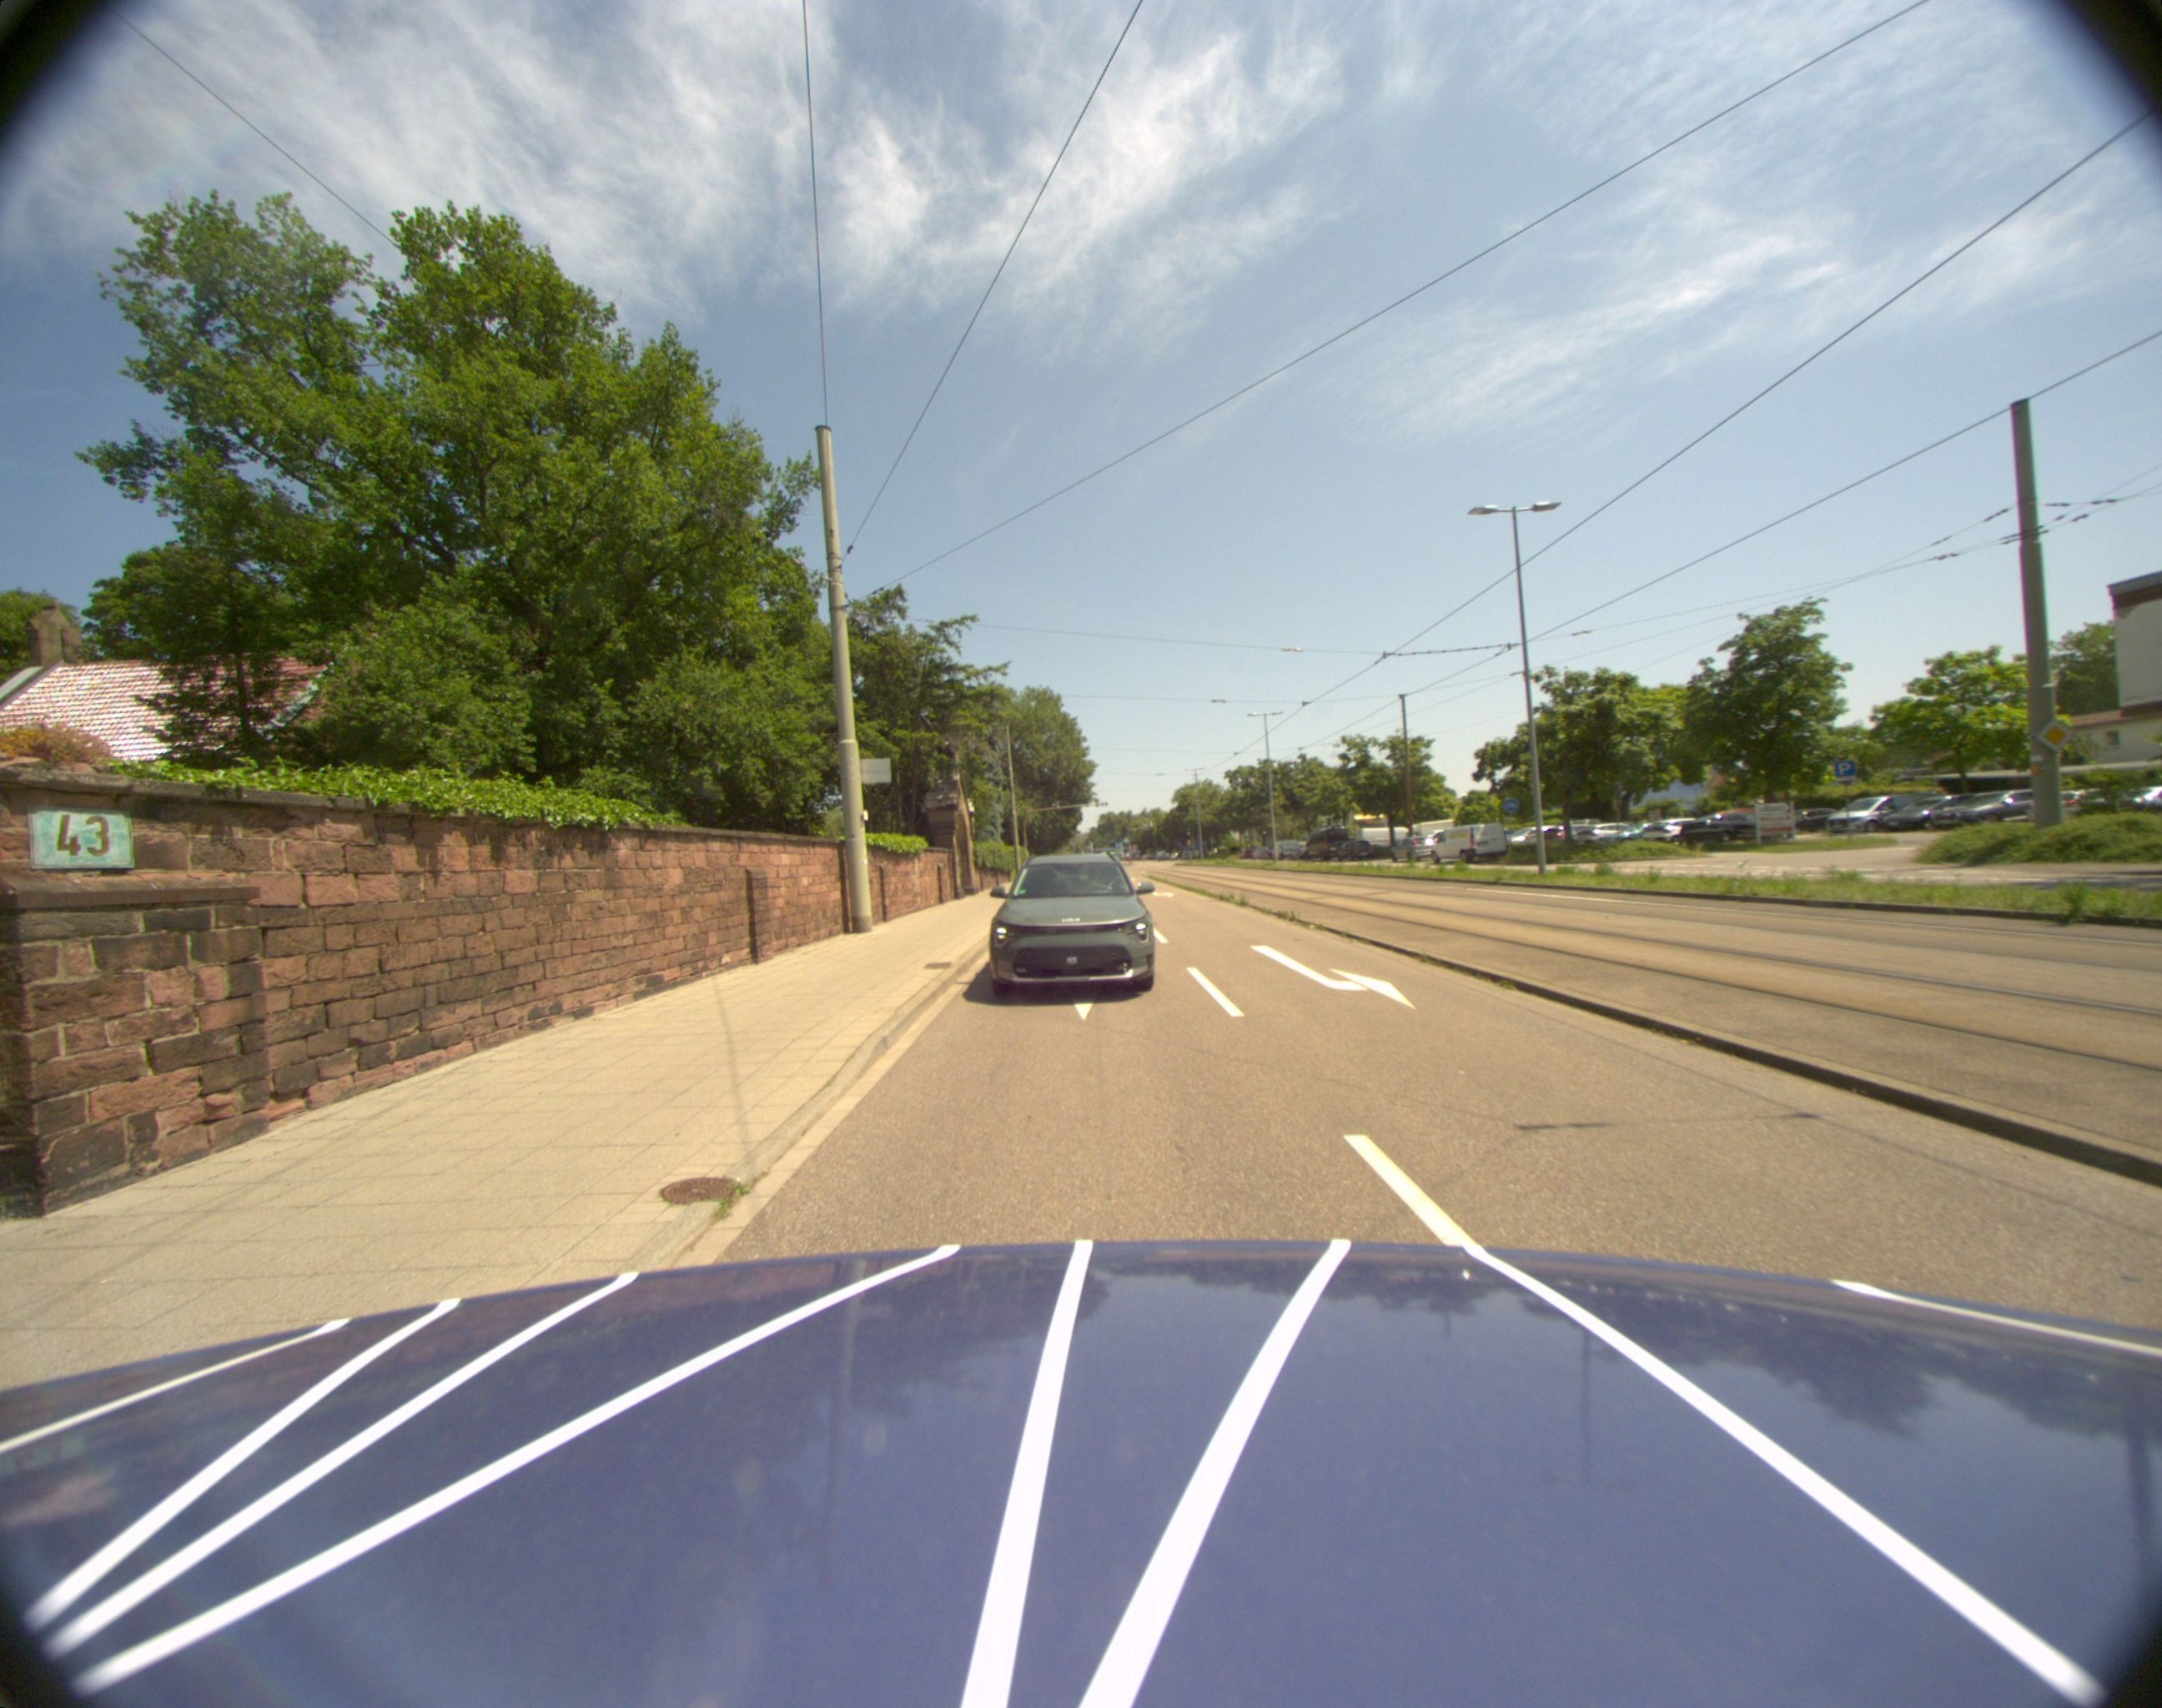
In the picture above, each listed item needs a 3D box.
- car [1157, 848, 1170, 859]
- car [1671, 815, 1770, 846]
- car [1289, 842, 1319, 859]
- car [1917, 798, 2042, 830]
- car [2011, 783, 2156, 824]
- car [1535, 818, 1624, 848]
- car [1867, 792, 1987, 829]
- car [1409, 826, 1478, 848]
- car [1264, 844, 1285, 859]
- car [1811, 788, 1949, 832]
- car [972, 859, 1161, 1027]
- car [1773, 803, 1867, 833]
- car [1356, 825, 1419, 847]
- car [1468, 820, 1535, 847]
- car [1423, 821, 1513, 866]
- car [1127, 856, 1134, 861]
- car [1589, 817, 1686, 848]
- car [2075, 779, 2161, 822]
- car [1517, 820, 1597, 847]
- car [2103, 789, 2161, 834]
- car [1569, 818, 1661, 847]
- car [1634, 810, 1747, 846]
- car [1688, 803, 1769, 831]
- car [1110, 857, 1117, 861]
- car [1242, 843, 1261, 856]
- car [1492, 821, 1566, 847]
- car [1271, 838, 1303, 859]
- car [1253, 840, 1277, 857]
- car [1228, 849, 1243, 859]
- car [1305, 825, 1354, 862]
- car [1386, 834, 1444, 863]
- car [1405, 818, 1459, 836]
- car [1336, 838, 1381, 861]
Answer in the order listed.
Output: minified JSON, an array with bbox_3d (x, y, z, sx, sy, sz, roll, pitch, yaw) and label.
[{"bbox_3d":[16.384,-0.102,150.819,1.821,1.979,4.212,-3,1,-3],"label":"car"},{"bbox_3d":[30.476,-1.121,36.249,3.423,1.225,1.643,-4,0,-6],"label":"car"},{"bbox_3d":[20.543,-0.367,70.082,1.767,1.456,3.608,-3,1,2],"label":"car"},{"bbox_3d":[42.698,-1.871,36.162,3.724,1.277,1.764,-3,1,3],"label":"car"},{"bbox_3d":[43.841,-2.204,33.297,3.996,1.511,1.661,-3,1,3],"label":"car"},{"bbox_3d":[30.366,-1.265,46.370,4.163,1.481,2.023,-4,0,-6],"label":"car"},{"bbox_3d":[43.206,-2.187,38.859,3.996,1.647,1.803,-3,1,3],"label":"car"},{"bbox_3d":[31.168,-1.456,65.390,4.926,1.568,1.999,-4,0,-2],"label":"car"},{"bbox_3d":[20.736,-0.268,81.520,1.429,1.470,3.262,-3,1,1],"label":"car"},{"bbox_3d":[43.295,-2.347,41.280,5.120,2.058,2.226,-3,1,1],"label":"car"},{"bbox_3d":[-0.150,0.899,9.681,1.824,1.577,4.287,-2,0,0],"label":"car"},{"bbox_3d":[44.185,-2.144,45.478,3.997,1.576,1.684,-3,1,-1],"label":"car"},{"bbox_3d":[30.706,-1.827,76.264,5.434,1.945,2.029,-3,1,2],"label":"car"},{"bbox_3d":[31.556,-1.538,57.110,3.998,1.708,1.797,-4,0,-3],"label":"car"},{"bbox_3d":[20.022,-0.549,39.631,1.880,1.999,5.344,-7,0,1],"label":"car"},{"bbox_3d":[14.413,1.329,220.363,1.820,1.471,3.423,-3,1,2],"label":"car"},{"bbox_3d":[30.350,-1.156,41.502,4.040,1.481,1.912,-3,1,-6],"label":"car"},{"bbox_3d":[43.270,-2.206,30.700,3.996,1.570,1.520,-3,1,3],"label":"car"},{"bbox_3d":[30.799,-1.316,49.200,4.075,1.481,1.831,-4,0,-6],"label":"car"},{"bbox_3d":[33.992,-1.415,22.873,3.996,1.289,1.682,-4,0,2],"label":"car"},{"bbox_3d":[30.873,-1.242,43.957,4.146,1.481,1.859,-3,1,-6],"label":"car"},{"bbox_3d":[31.069,-1.305,38.816,4.171,1.481,1.984,-4,0,-1],"label":"car"},{"bbox_3d":[43.665,-2.481,51.296,4.129,1.643,1.692,-3,0,-5],"label":"car"},{"bbox_3d":[10.776,1.563,253.013,1.781,1.310,3.753,-3,1,-3],"label":"car"},{"bbox_3d":[20.747,-0.529,92.698,1.582,1.471,3.423,-3,1,2],"label":"car"},{"bbox_3d":[30.452,-1.325,51.694,3.999,1.479,1.866,-4,0,-6],"label":"car"},{"bbox_3d":[20.521,-0.559,75.875,1.924,1.937,4.817,-3,1,2],"label":"car"},{"bbox_3d":[20.795,-0.655,86.166,1.635,1.882,4.496,-3,1,1],"label":"car"},{"bbox_3d":[21.289,-0.019,104.760,1.582,1.152,3.423,-3,1,2],"label":"car"},{"bbox_3d":[20.193,-0.872,62.026,2.244,2.822,5.667,-3,1,1],"label":"car"},{"bbox_3d":[20.115,-0.329,45.945,1.654,1.494,4.125,-7,0,1],"label":"car"},{"bbox_3d":[44.475,-3.416,96.323,5.744,2.051,2.147,-3,1,-2],"label":"car"},{"bbox_3d":[20.270,-0.328,55.667,1.976,1.568,3.752,-3,1,1],"label":"car"}]
